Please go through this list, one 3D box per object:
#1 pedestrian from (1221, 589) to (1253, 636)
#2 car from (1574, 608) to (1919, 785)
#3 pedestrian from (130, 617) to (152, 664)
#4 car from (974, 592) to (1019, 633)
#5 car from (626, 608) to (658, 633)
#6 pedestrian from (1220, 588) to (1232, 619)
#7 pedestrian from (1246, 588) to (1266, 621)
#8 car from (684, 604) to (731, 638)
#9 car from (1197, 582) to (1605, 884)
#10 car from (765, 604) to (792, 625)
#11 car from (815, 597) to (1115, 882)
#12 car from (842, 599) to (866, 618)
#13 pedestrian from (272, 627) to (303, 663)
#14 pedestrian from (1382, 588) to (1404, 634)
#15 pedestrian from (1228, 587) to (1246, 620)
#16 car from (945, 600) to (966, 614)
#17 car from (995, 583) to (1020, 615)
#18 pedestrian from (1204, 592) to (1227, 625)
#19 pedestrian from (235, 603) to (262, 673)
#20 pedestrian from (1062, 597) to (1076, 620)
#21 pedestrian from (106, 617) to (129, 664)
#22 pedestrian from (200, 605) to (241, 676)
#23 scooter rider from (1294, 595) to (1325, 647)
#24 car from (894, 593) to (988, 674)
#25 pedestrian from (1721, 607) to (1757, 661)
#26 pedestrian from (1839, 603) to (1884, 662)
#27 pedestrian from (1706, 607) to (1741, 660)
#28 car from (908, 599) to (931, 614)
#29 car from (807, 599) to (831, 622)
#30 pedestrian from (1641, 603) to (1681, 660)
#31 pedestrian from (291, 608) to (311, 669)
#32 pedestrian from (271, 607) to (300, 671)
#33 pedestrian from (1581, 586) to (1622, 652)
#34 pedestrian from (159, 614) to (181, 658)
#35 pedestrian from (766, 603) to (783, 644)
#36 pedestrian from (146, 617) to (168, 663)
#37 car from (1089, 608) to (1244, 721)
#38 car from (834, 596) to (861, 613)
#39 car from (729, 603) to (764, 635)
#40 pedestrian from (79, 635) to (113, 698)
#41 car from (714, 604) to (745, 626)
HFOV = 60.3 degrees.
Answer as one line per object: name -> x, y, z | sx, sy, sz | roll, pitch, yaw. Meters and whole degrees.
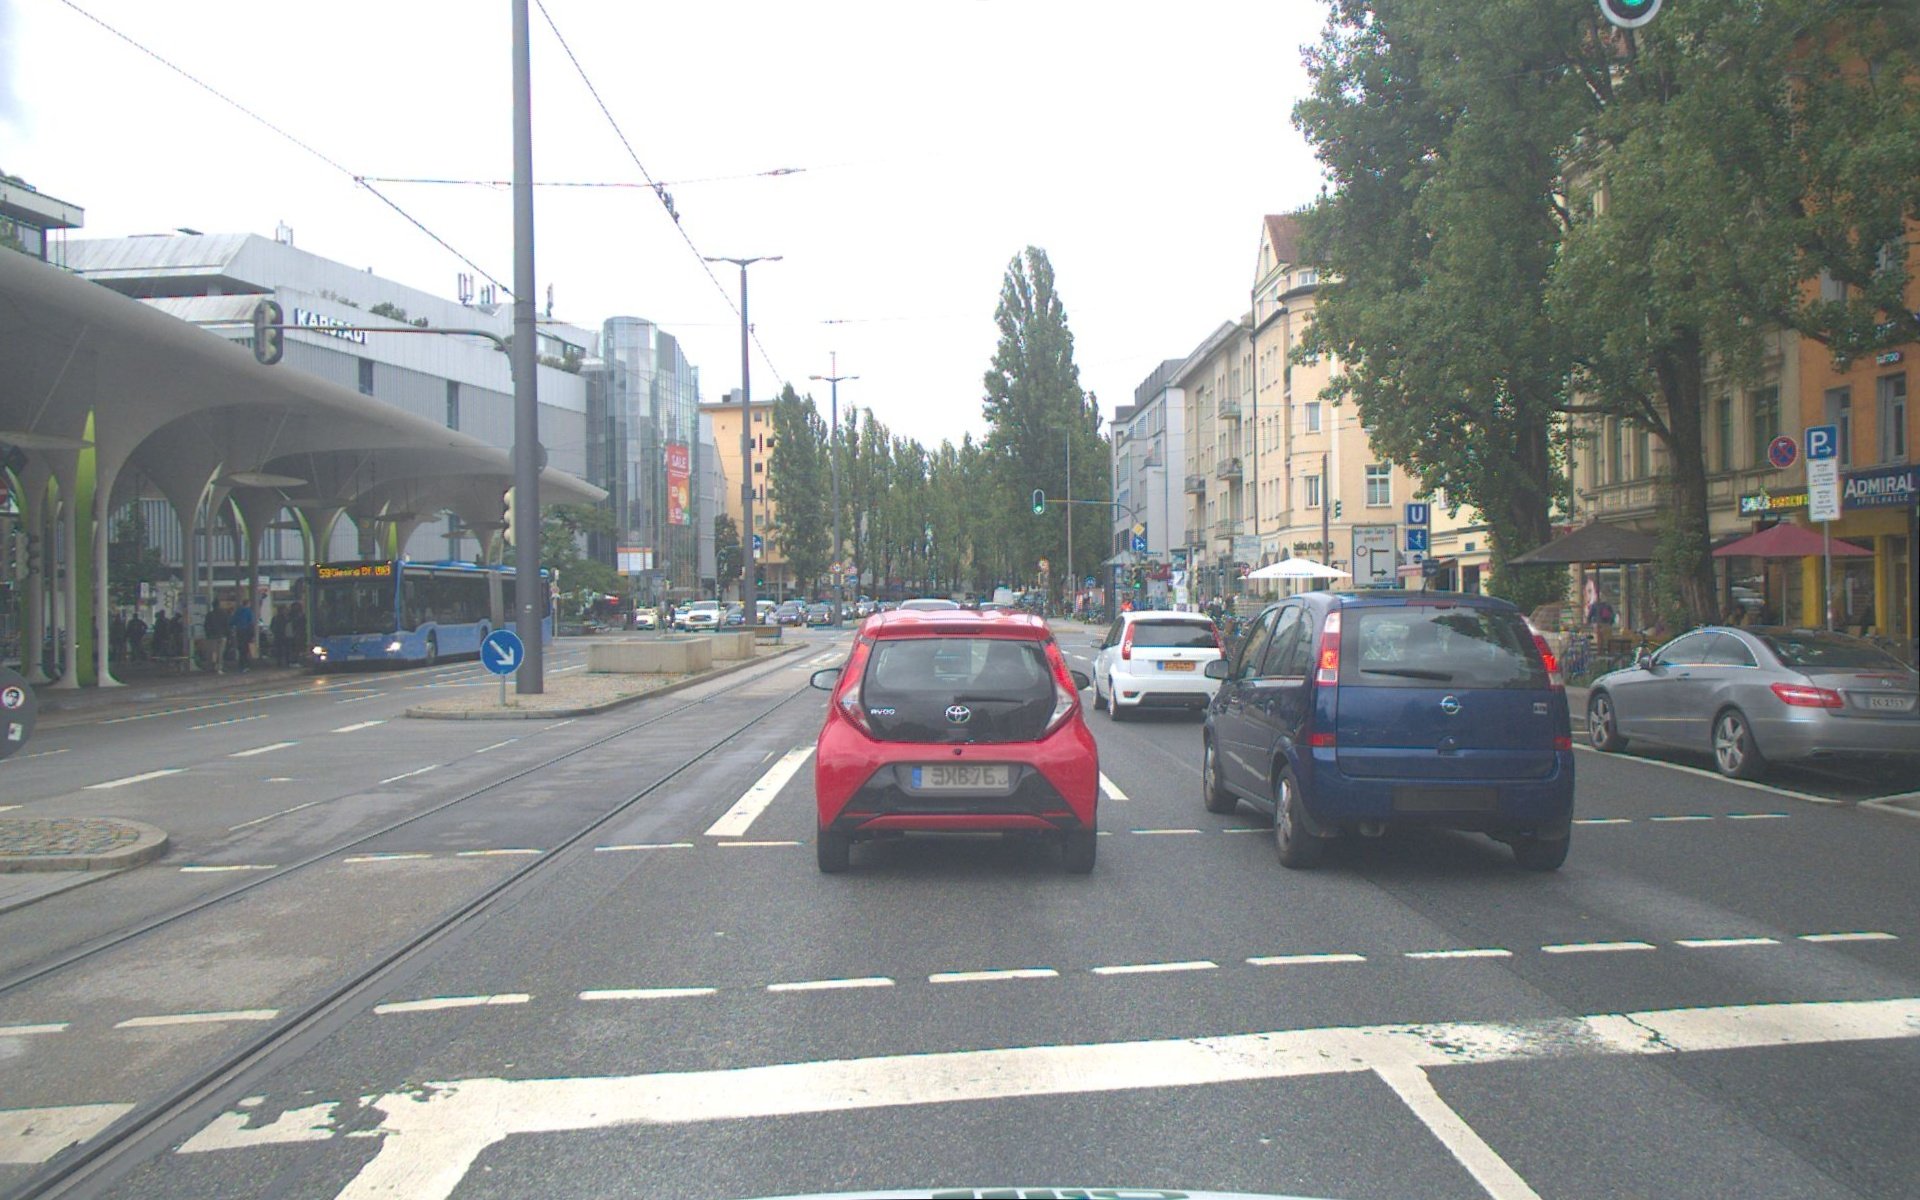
pedestrian -> 10.619, 0.468, 63.425 | 0.867, 1.773, 0.854 | -1, 0, -17
car -> 8.034, 0.834, 16.475 | 1.954, 1.465, 4.526 | -1, 0, -3
pedestrian -> -28.977, 1.440, 58.508 | 0.562, 1.639, 0.546 | -1, 0, -10
car -> 1.687, 0.565, 78.120 | 1.953, 1.870, 3.999 | -1, 0, -1
car -> -21.691, 1.378, 112.644 | 1.959, 1.563, 4.400 | -2, 1, -13
pedestrian -> 14.471, 0.168, 89.993 | 0.548, 1.637, 0.568 | -1, 3, 12
pedestrian -> 16.420, 0.234, 91.771 | 0.914, 1.786, 1.065 | -1, 0, -1
car -> -15.060, 1.227, 98.903 | 2.132, 1.920, 6.153 | -1, 0, -3
car -> 2.647, 0.723, 10.735 | 1.668, 1.617, 3.555 | 1, 0, -1
car -> -12.741, 1.013, 116.267 | 1.644, 1.420, 4.230 | -1, 0, -3
car -> 0.034, 0.740, 10.338 | 1.572, 1.487, 3.130 | -1, 0, 0
car -> -10.038, 0.787, 156.499 | 1.707, 1.699, 4.734 | -1, 0, 3
pedestrian -> -25.622, 1.697, 63.001 | 0.833, 1.340, 0.865 | 0, -1, -45
pedestrian -> 15.826, 0.393, 60.432 | 0.602, 1.661, 0.677 | -1, 0, -1
pedestrian -> 15.070, 0.181, 89.928 | 0.637, 1.734, 0.726 | -3, 3, -30
car -> -0.609, 0.877, 216.715 | 1.951, 1.758, 3.920 | -1, 0, 13
car -> 4.201, -0.052, 147.584 | 2.064, 2.766, 4.803 | -1, 0, 0
pedestrian -> 12.034, 0.397, 77.941 | 0.717, 1.567, 0.887 | -1, 0, -15
pedestrian -> -18.393, 0.970, 42.752 | 0.556, 1.774, 0.751 | -1, 0, -20
pedestrian -> 7.725, 0.598, 117.256 | 0.792, 1.549, 0.800 | -1, 0, 23
pedestrian -> -29.818, 1.422, 58.536 | 0.562, 1.639, 0.546 | -1, 0, -10
pedestrian -> -18.466, 1.004, 41.329 | 0.700, 1.752, 0.879 | -1, 0, -10
scooter rider -> 9.764, 0.584, 46.247 | 0.687, 1.413, 0.643 | -1, 0, -3
car -> -0.441, 0.702, 36.612 | 1.953, 1.646, 3.999 | -1, 0, -1
pedestrian -> 18.891, 0.822, 40.096 | 0.571, 1.303, 0.583 | -1, 0, -2
pedestrian -> 19.051, 0.679, 34.954 | 0.610, 1.239, 0.583 | -1, 0, -2
pedestrian -> 18.895, 0.823, 40.935 | 0.571, 1.303, 0.583 | -1, 0, -2
car -> -4.685, 0.753, 191.617 | 1.951, 1.721, 4.925 | -1, 0, 7
car -> -9.370, 0.706, 109.853 | 1.515, 1.471, 3.536 | -1, 0, -5
pedestrian -> 15.607, 0.696, 36.848 | 0.588, 1.243, 0.666 | -1, 0, -1
pedestrian -> -17.796, 1.026, 44.664 | 0.385, 1.633, 0.390 | -1, 0, -6
pedestrian -> -18.914, 1.089, 46.386 | 0.497, 1.764, 0.569 | -1, 0, 41
pedestrian -> 16.387, 0.485, 42.253 | 0.696, 1.661, 0.786 | -1, 0, -1
pedestrian -> -29.545, 1.351, 61.850 | 0.562, 1.639, 0.580 | -1, 0, -10
pedestrian -> -7.519, 0.956, 67.087 | 0.513, 1.647, 0.461 | -1, 0, 43
pedestrian -> -29.157, 1.437, 60.042 | 0.562, 1.639, 0.546 | -1, 0, -10
car -> 2.834, 0.849, 23.317 | 1.665, 1.451, 3.496 | 1, 0, -1
car -> -10.026, 0.388, 147.657 | 1.952, 1.436, 4.169 | 2, 0, 3
car -> -13.158, 1.171, 102.168 | 1.750, 1.887, 4.215 | -2, 0, -3
pedestrian -> -28.891, 2.204, 55.302 | 0.896, 2.049, 0.665 | -1, 0, -35
car -> -15.602, 0.994, 112.133 | 1.639, 1.403, 4.611 | -1, 0, -2
